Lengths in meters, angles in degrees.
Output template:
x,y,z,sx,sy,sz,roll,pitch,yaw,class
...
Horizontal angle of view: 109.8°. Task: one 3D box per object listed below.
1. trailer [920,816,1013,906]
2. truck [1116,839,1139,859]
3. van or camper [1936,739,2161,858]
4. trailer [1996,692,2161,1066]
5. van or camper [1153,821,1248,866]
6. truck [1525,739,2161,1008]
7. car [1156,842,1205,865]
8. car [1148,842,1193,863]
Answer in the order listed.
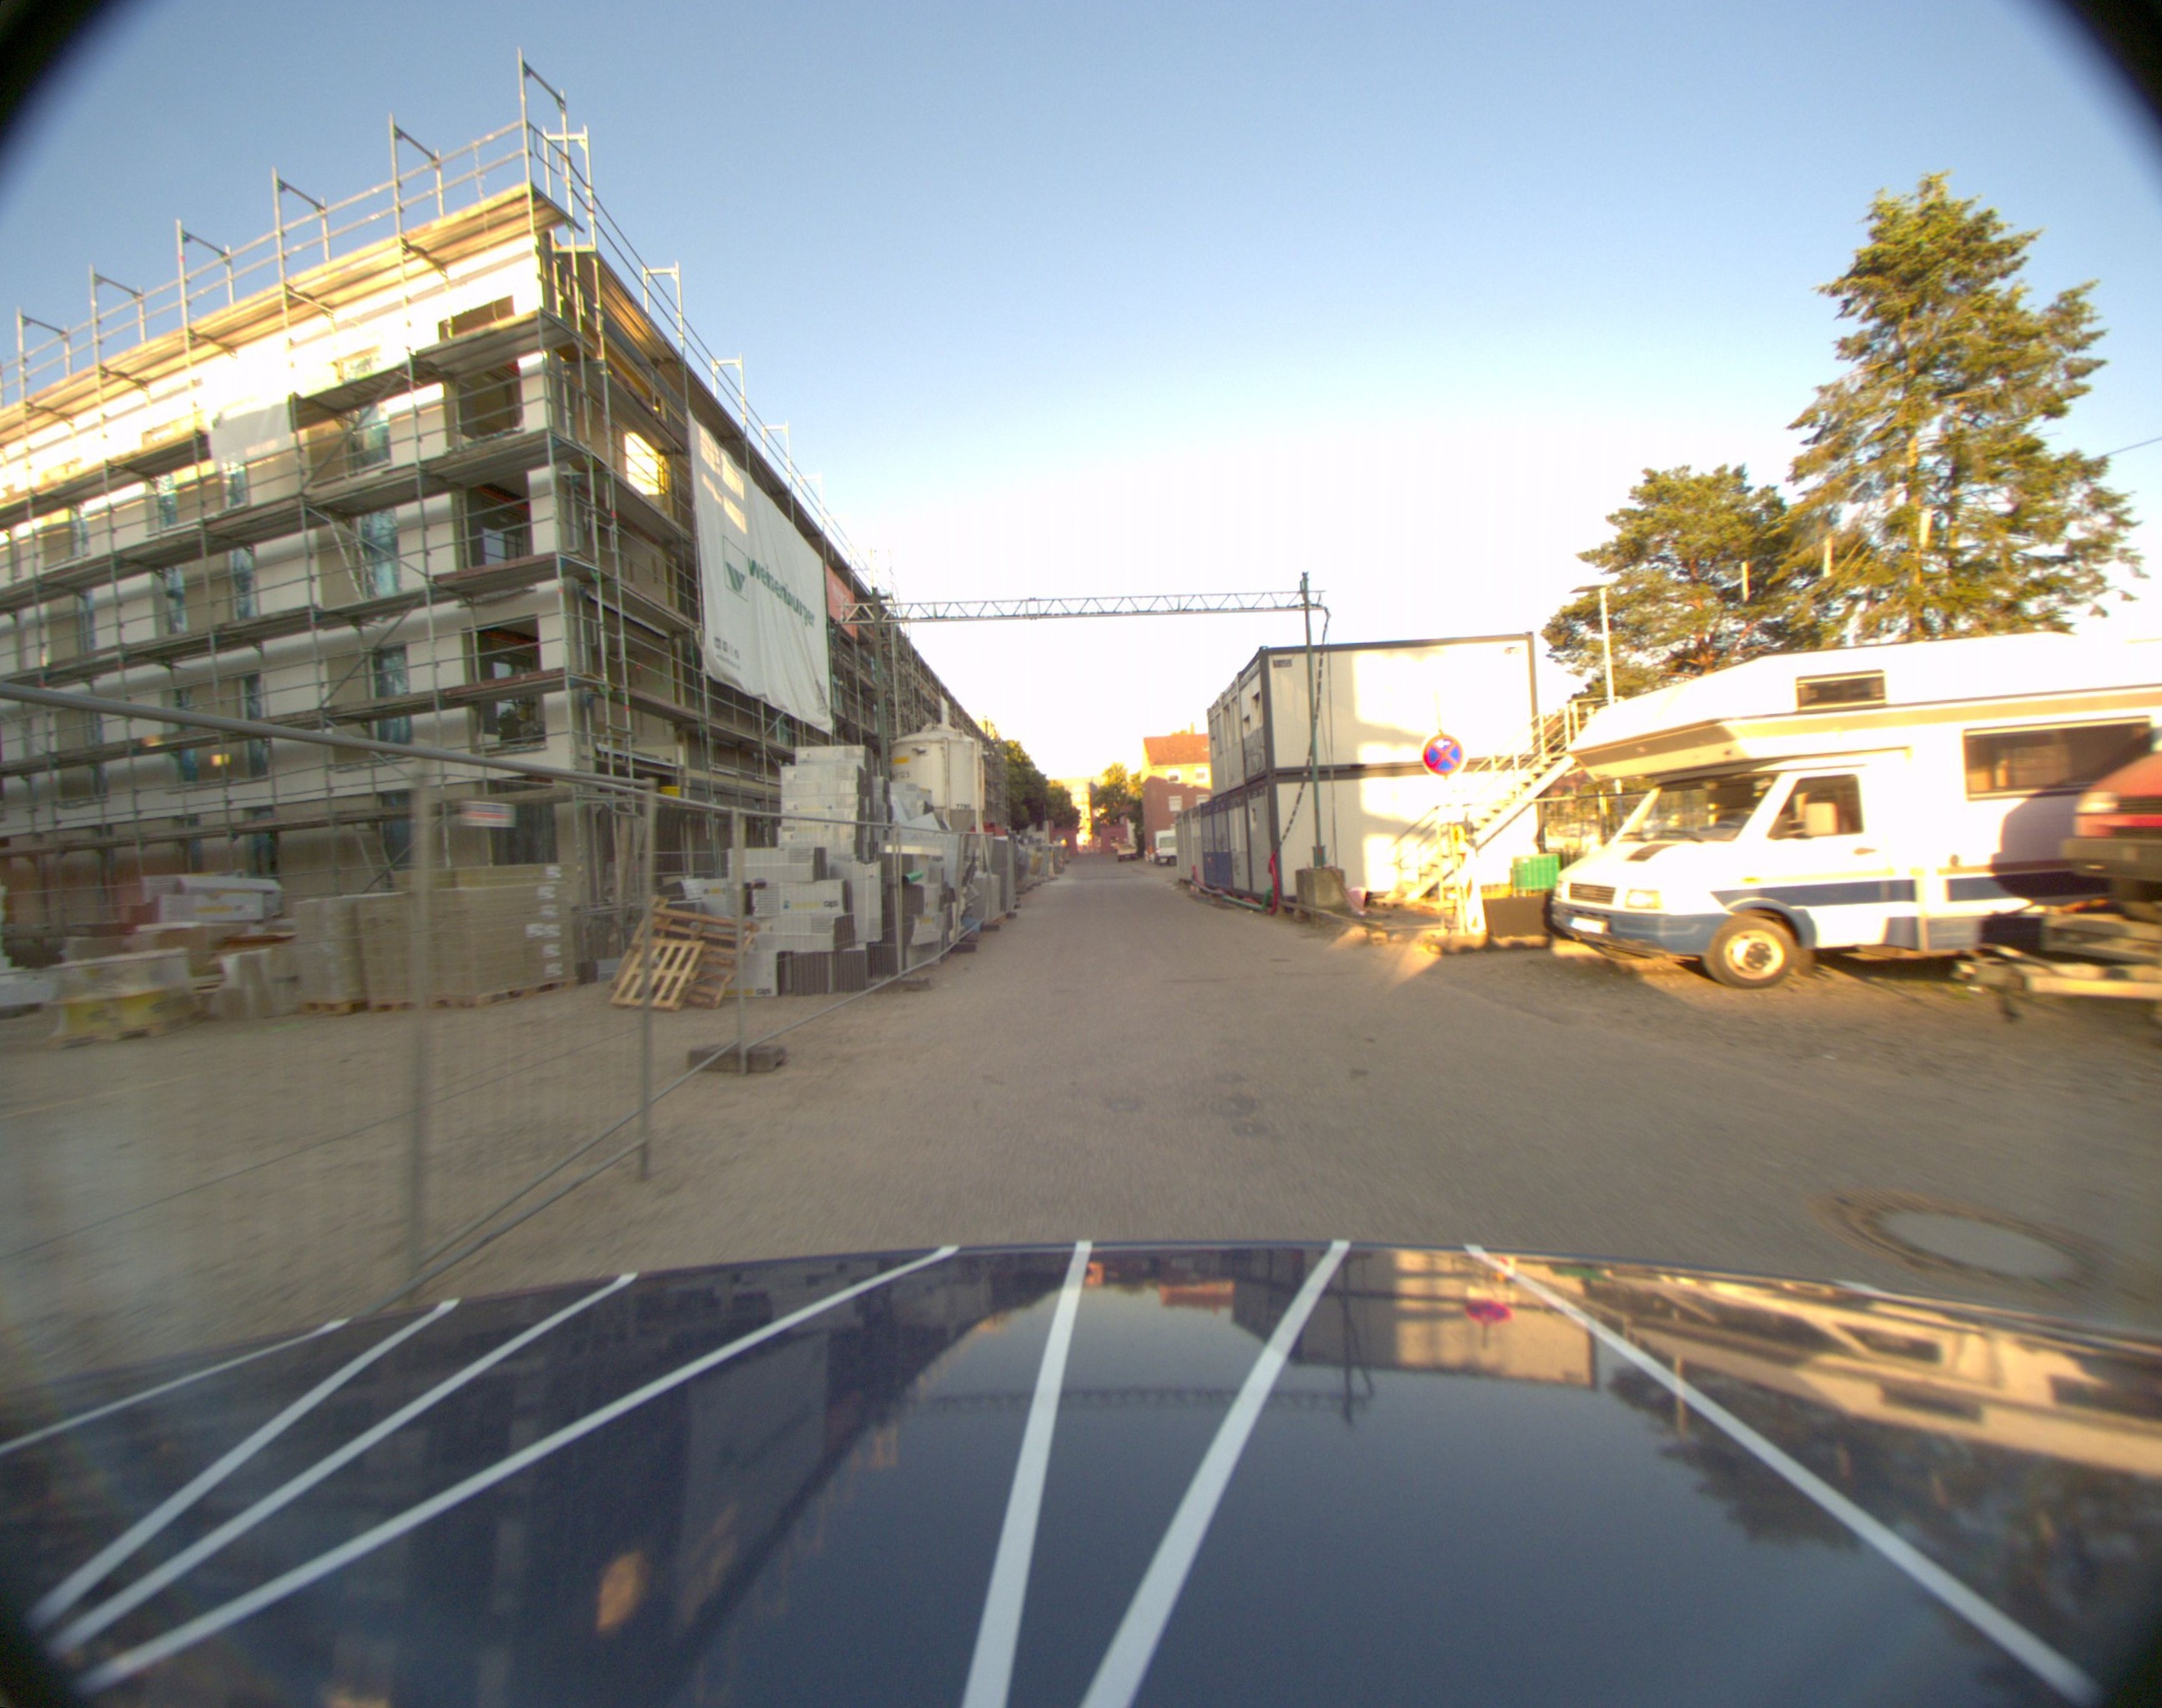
x,y,z,sx,sy,sz,roll,pitch,yaw,class
-4.086,0.207,28.334,2.581,2.895,6.236,-2,1,-2,trailer
5.280,-0.622,87.136,1.842,2.089,3.738,-5,1,-5,truck
26.111,-1.369,19.364,2.261,2.754,5.801,-3,1,3,van or camper
9.305,0.002,4.459,4.801,2.419,2.134,-4,2,8,trailer
8.741,-0.780,56.161,6.469,2.625,2.407,-5,0,3,van or camper
8.122,0.108,7.441,6.025,2.031,2.356,-3,1,4,truck
8.043,-0.071,61.925,3.726,1.507,1.769,-5,1,3,car
8.007,-0.169,68.242,3.726,1.507,1.809,-5,0,3,car
